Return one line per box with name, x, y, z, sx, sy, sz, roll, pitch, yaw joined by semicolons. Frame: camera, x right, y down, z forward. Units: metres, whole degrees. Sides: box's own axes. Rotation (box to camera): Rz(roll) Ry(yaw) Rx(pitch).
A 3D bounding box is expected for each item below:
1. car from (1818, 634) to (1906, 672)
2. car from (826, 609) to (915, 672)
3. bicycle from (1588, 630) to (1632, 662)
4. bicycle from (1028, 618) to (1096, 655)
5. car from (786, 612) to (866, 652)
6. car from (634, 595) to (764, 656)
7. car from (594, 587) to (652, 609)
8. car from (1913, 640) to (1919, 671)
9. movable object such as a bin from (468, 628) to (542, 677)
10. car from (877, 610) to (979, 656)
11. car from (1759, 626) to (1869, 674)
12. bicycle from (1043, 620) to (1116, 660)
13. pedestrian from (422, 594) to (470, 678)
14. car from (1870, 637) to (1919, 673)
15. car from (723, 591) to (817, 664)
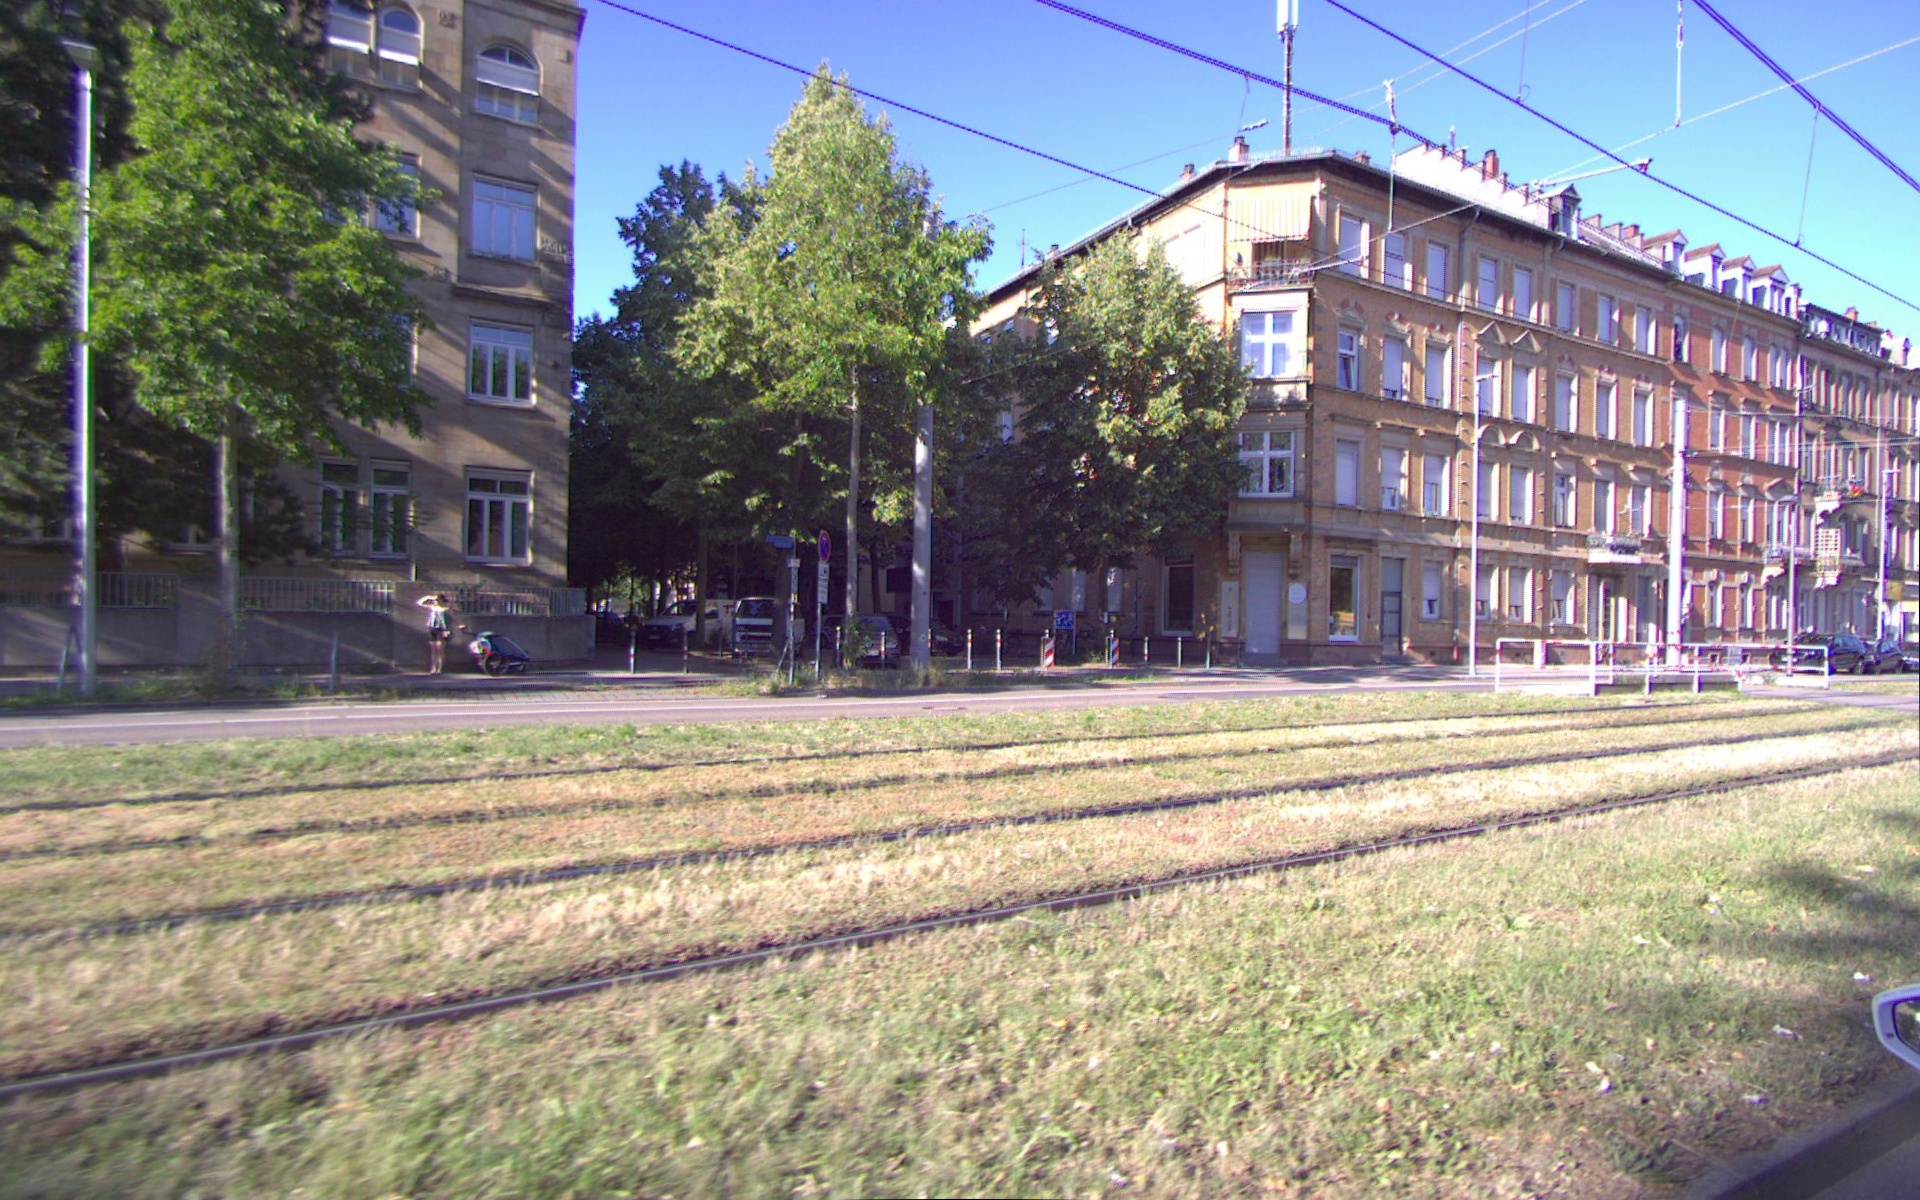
car;39.253;2.305;43.705;3.489;1.486;1.767;2;1;-29
car;-2.329;1.028;27.297;1.961;1.491;4.192;2;0;0
bicycle;26.157;1.855;40.408;1.729;1.196;0.696;2;1;-29
bicycle;3.418;1.227;33.707;2.215;1.194;0.781;2;1;-31
car;-5.919;1.376;43.971;1.977;1.491;4.157;2;0;-31
car;-9.336;0.858;36.404;2.027;1.943;5.009;3;1;20
car;-32.912;-0.175;98.174;4.954;1.943;2.049;2;1;-32
car;47.821;2.694;48.315;3.862;1.425;1.768;1;2;-29
movable object such as a bin;-9.141;1.047;20.152;1.222;0.876;1.238;2;1;-31
car;-1.253;1.209;37.391;1.977;1.491;4.157;2;0;-31
car;35.257;2.018;41.469;4.503;1.777;2.006;1;2;-29
bicycle;3.867;1.299;32.549;2.204;1.194;0.785;2;1;-17
pedestrian;-10.217;0.703;19.964;0.788;1.614;0.615;2;1;-31
car;43.713;2.496;46.075;3.862;1.425;1.768;1;2;-29
car;-5.883;0.773;31.662;1.961;2.040;4.614;2;1;0
